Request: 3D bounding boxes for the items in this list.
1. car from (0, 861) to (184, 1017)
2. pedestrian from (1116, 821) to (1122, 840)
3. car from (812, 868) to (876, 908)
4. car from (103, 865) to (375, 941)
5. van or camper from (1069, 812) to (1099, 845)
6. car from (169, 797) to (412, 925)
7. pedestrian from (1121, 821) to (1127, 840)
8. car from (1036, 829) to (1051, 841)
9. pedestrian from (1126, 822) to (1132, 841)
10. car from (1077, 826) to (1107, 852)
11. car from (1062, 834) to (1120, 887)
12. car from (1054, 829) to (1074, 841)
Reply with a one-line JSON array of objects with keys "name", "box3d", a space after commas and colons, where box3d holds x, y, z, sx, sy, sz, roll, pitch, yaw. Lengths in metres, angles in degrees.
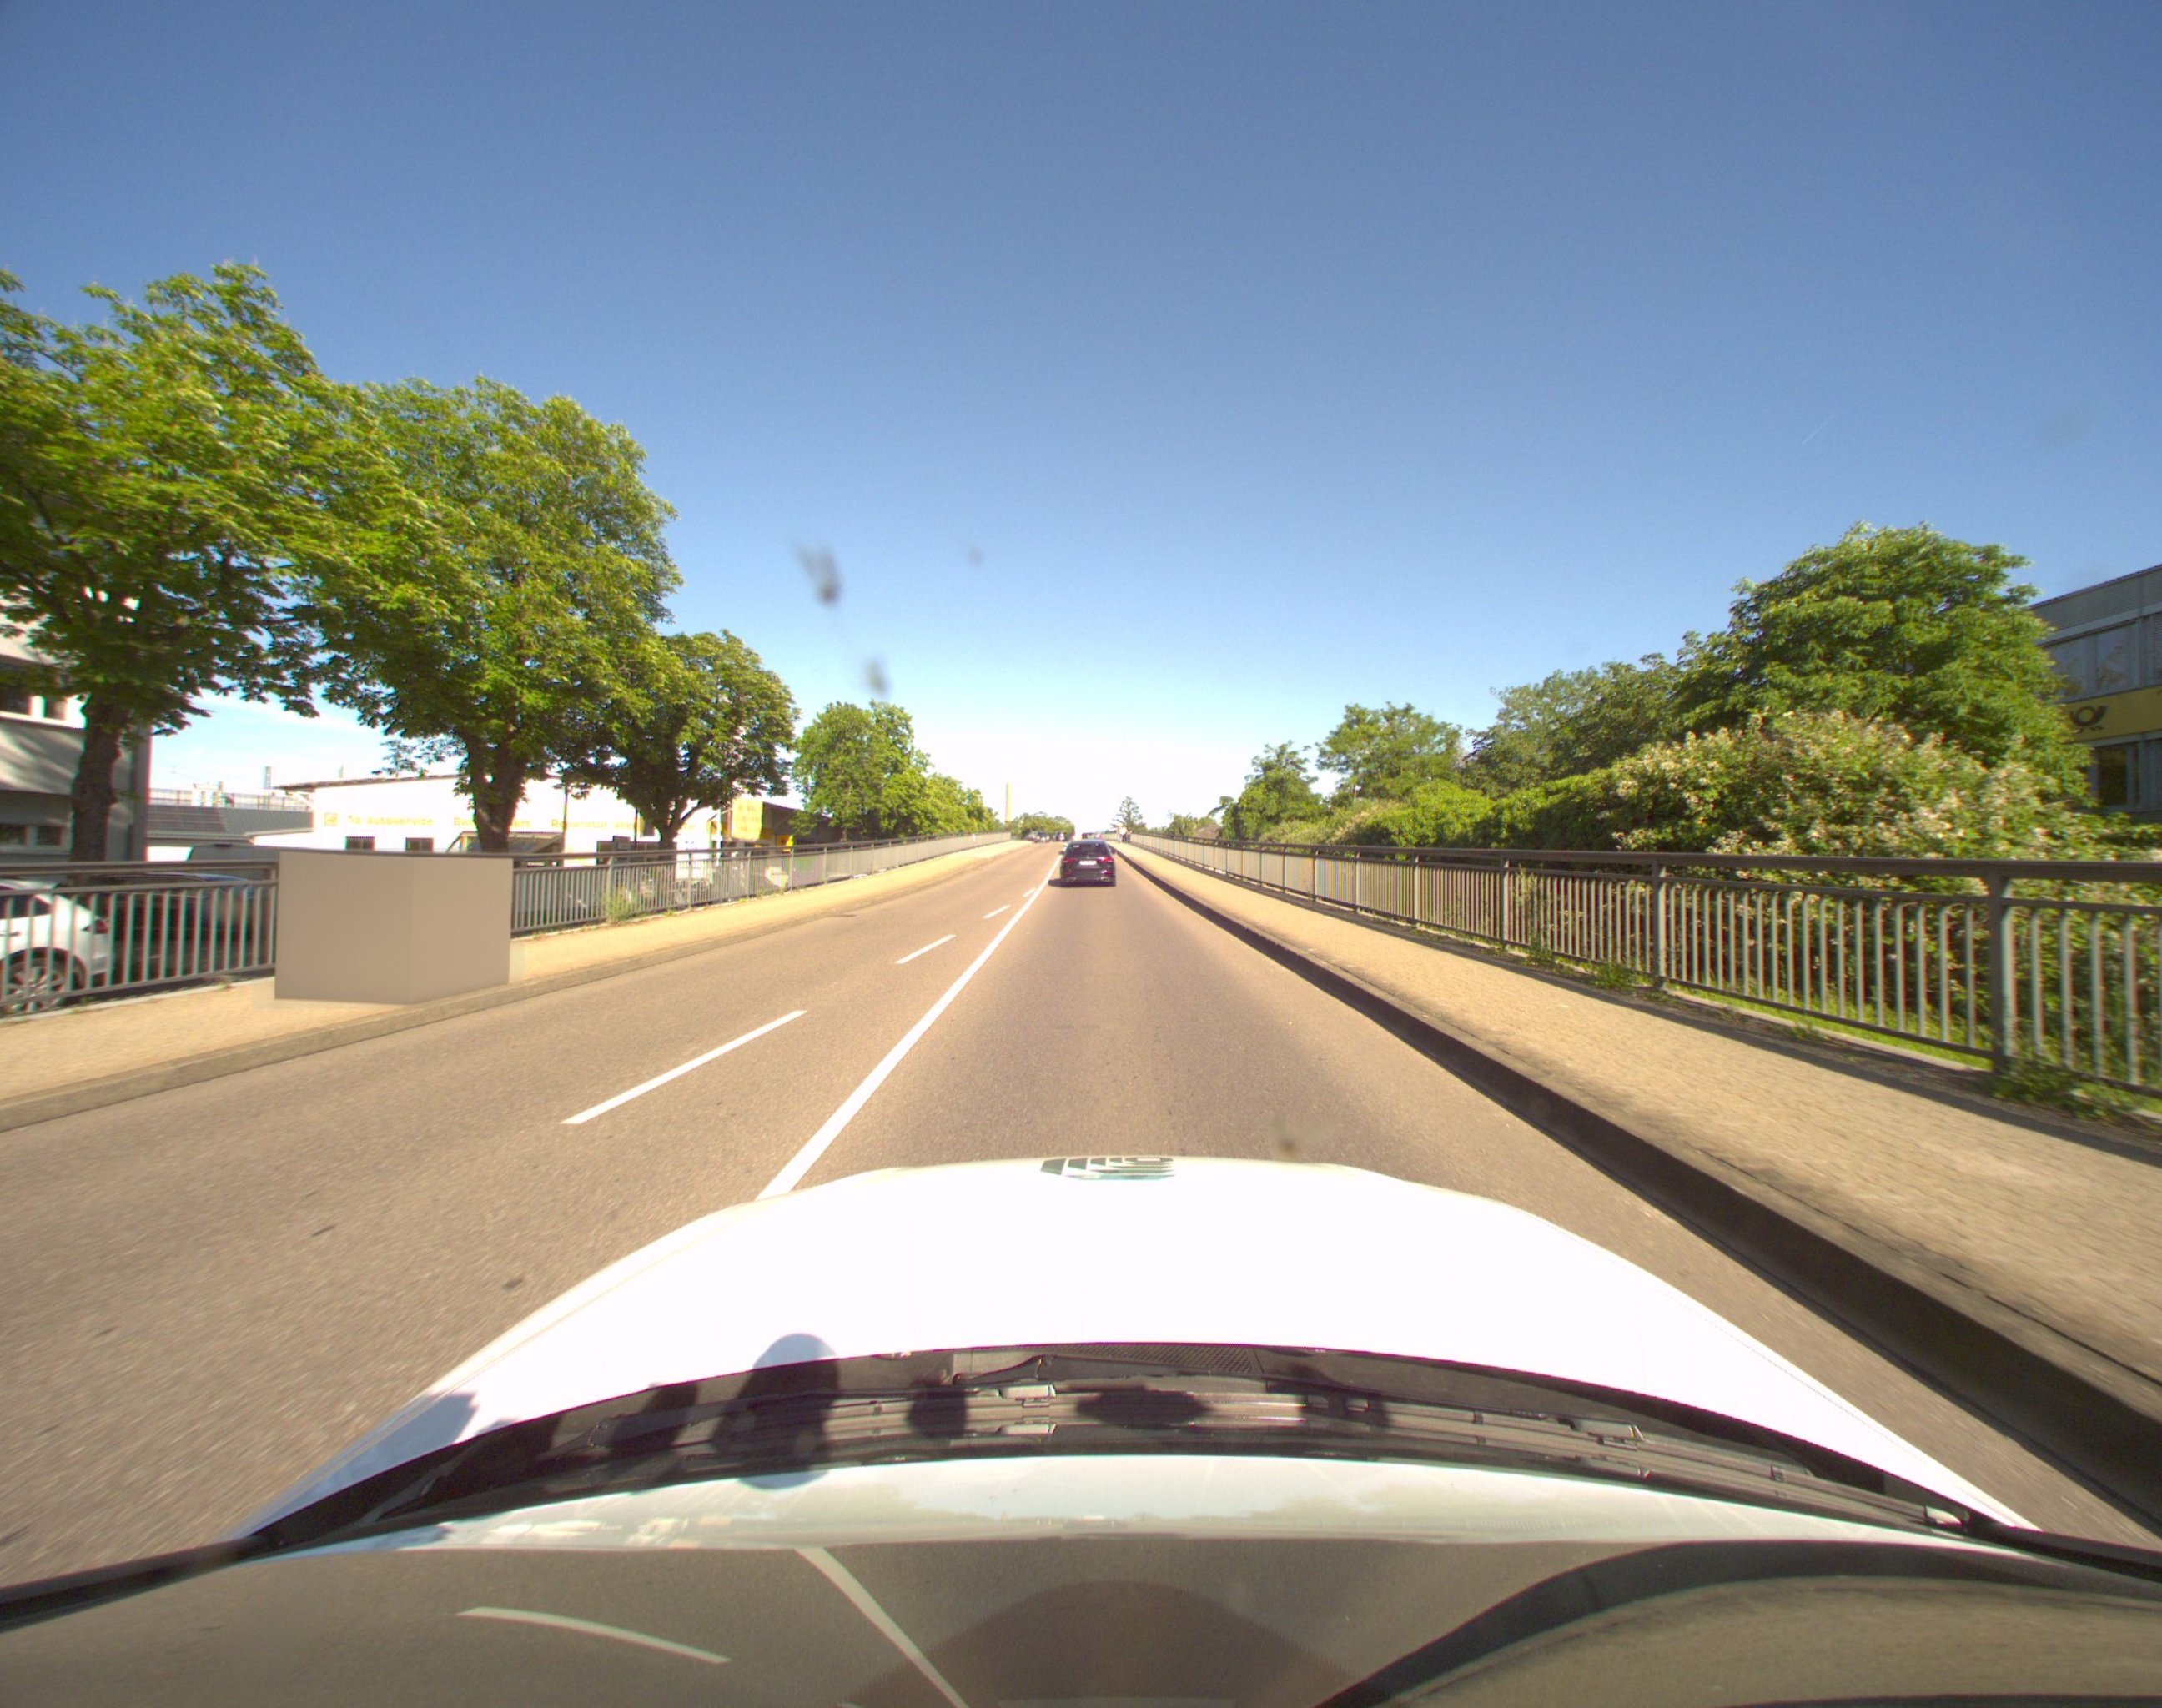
[{"name": "car", "box3d": [-13.307, 0.949, 8.430, 2.030, 1.729, 5.239, 1, -1, 2]}, {"name": "pedestrian", "box3d": [3.619, -2.221, 77.678, 0.600, 1.750, 0.716, 1, -1, 0]}, {"name": "car", "box3d": [-12.944, 1.809, 44.701, 1.914, 1.991, 4.263, 1, 0, 5]}, {"name": "car", "box3d": [-19.138, 1.085, 18.699, 3.993, 1.584, 1.894, 1, -1, -6]}, {"name": "van or camper", "box3d": [0.215, -2.255, 75.014, 2.222, 2.739, 7.069, 1, 0, -4]}, {"name": "car", "box3d": [-26.150, 0.029, 27.444, 2.128, 2.557, 5.886, -14, 14, -4]}, {"name": "pedestrian", "box3d": [4.118, -2.281, 78.473, 0.548, 1.750, 0.738, 1, -1, 0]}, {"name": "car", "box3d": [-4.758, -2.494, 104.161, 1.764, 1.474, 3.988, -1, 2, -1]}, {"name": "pedestrian", "box3d": [4.545, -2.148, 77.602, 0.470, 1.750, 0.654, 1, -1, 0]}, {"name": "car", "box3d": [0.746, -0.988, 53.462, 1.797, 1.640, 4.003, 1, 1, 2]}, {"name": "car", "box3d": [0.267, 0.149, 27.075, 1.765, 1.592, 3.988, 1, 2, -1]}, {"name": "car", "box3d": [-2.420, -2.633, 115.513, 1.906, 1.489, 4.282, -1, -2, 11]}]
